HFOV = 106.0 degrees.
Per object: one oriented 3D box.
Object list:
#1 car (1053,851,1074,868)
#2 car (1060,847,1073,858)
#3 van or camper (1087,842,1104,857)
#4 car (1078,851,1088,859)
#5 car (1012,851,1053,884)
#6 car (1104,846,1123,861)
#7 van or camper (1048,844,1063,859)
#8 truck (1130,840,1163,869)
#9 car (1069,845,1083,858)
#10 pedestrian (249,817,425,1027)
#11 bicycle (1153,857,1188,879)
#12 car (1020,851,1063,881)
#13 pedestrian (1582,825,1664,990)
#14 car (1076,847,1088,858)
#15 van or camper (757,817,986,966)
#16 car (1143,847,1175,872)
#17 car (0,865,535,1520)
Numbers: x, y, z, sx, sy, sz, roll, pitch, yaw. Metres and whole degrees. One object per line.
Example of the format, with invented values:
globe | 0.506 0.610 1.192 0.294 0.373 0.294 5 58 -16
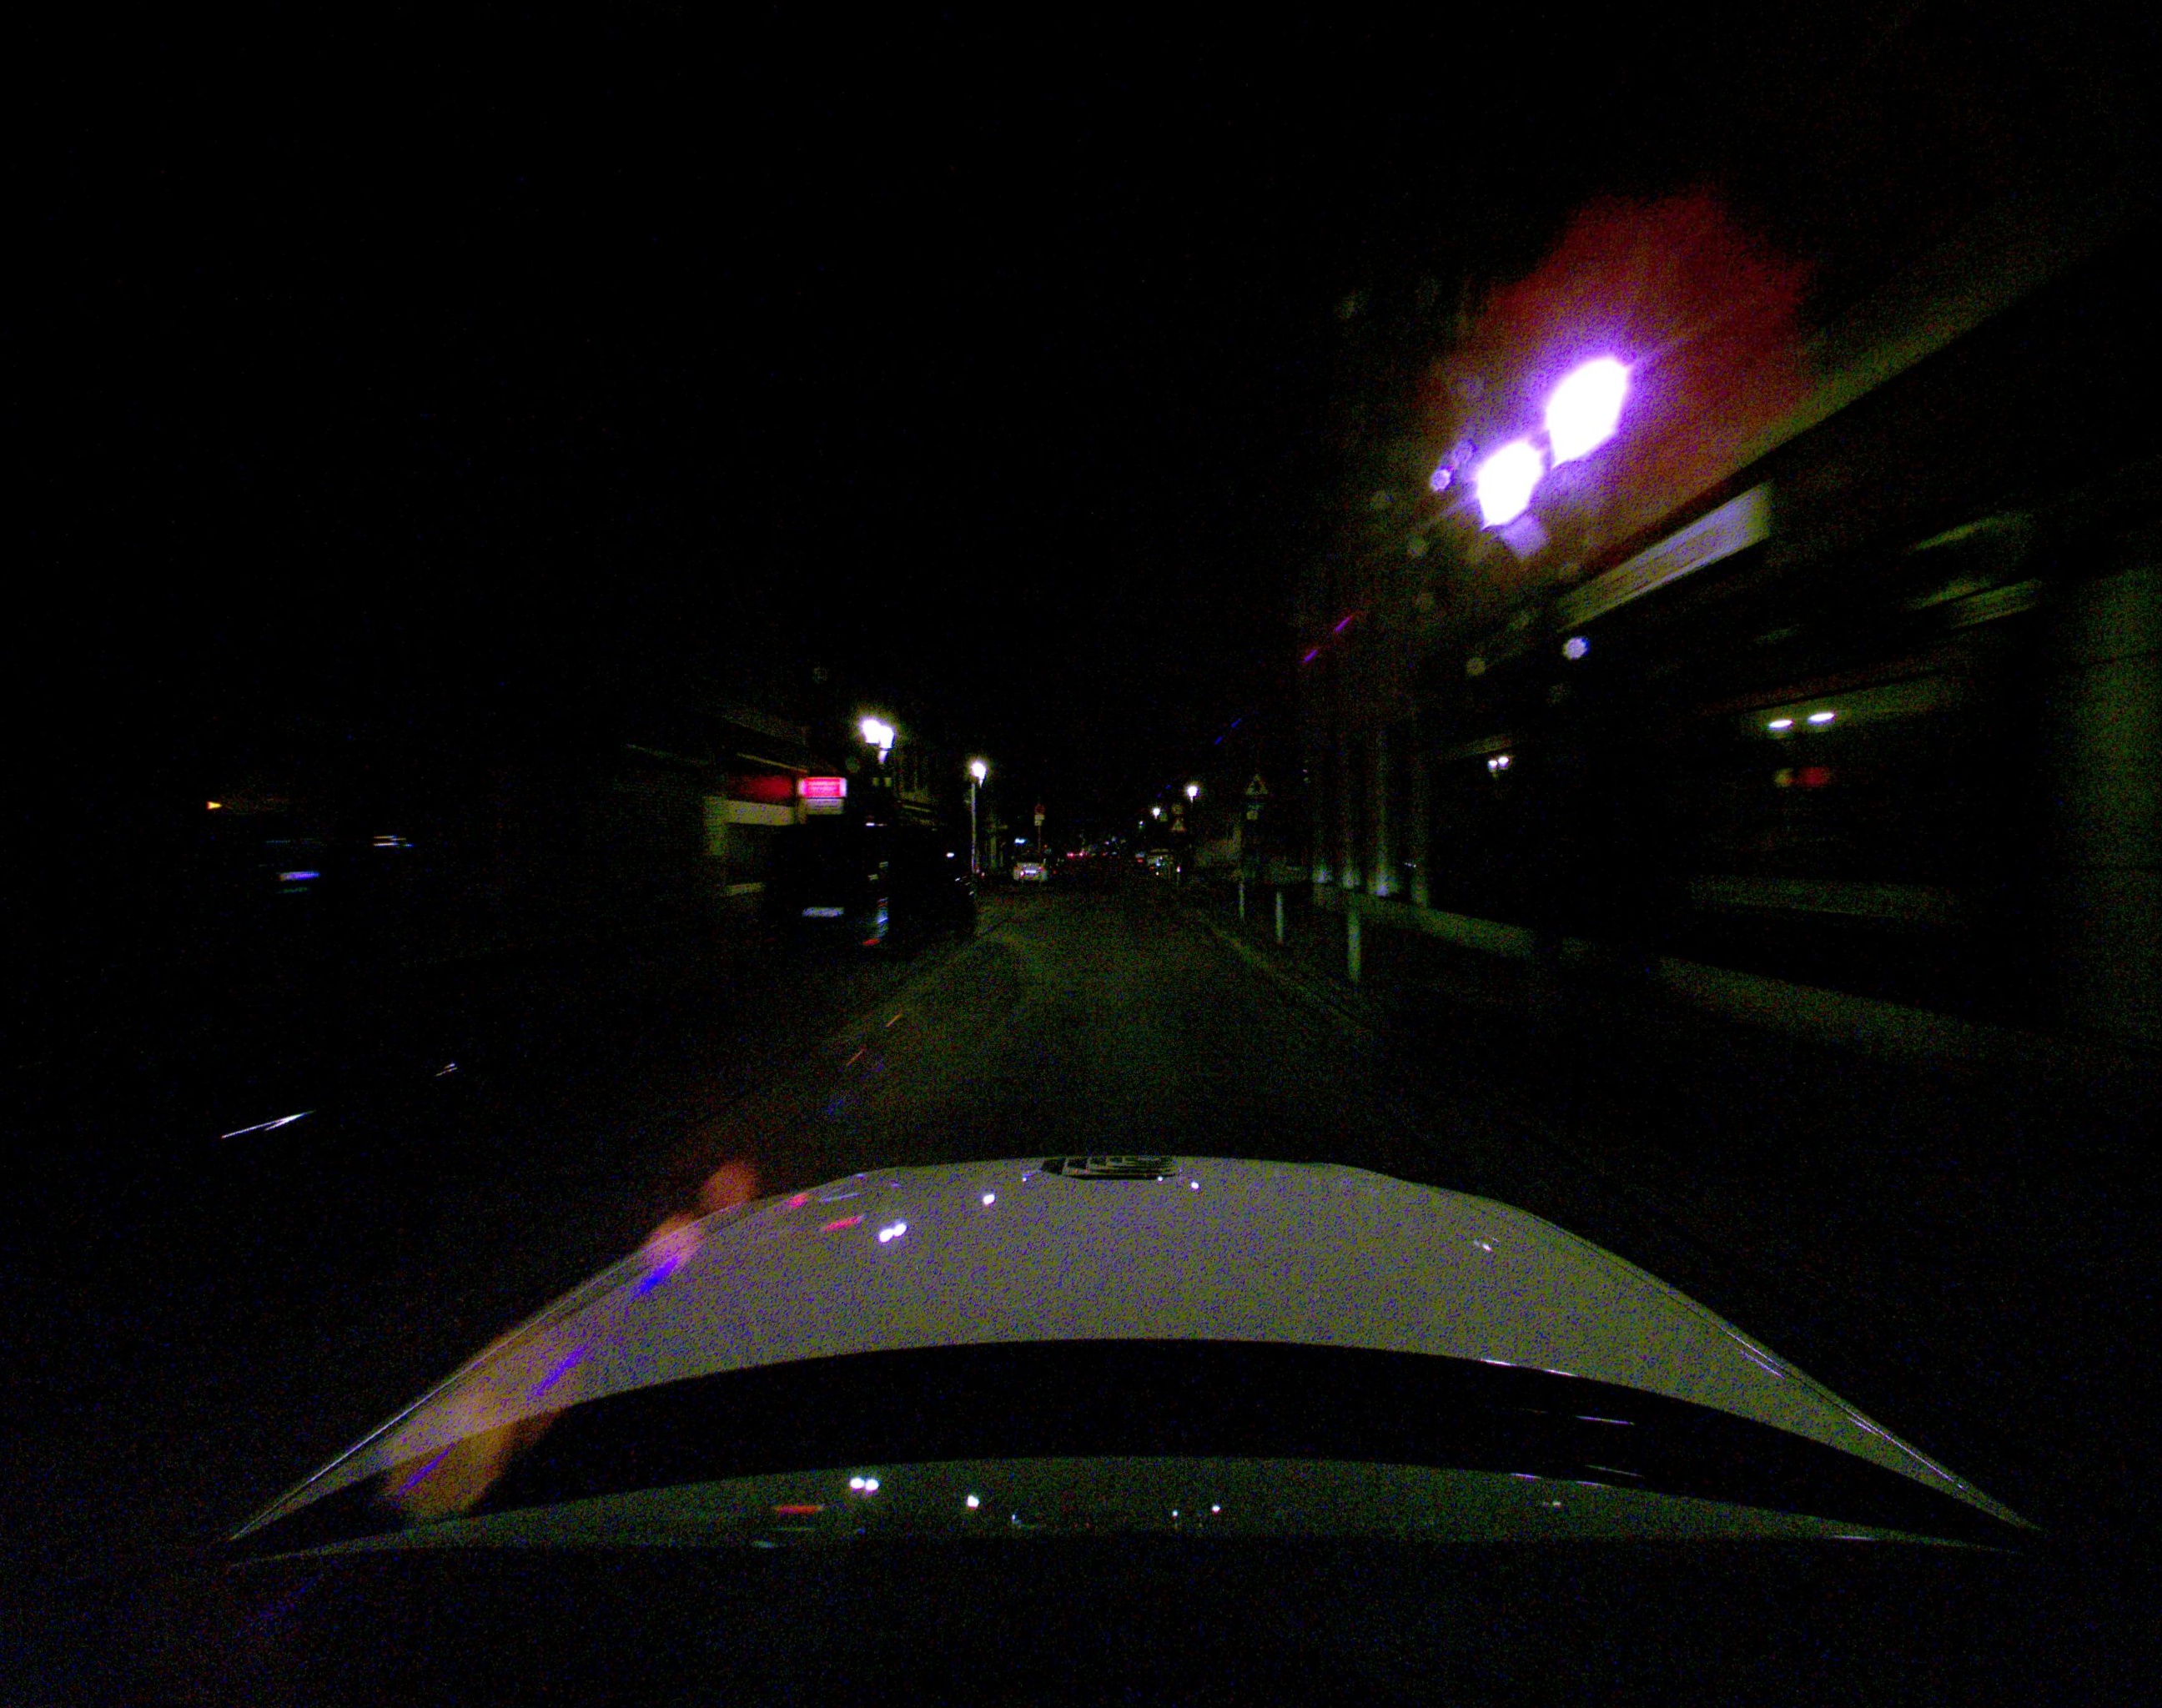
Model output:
car | -1.601 0.466 72.865 1.670 1.543 4.224 0 0 -4
car | -2.345 -0.196 134.551 1.989 1.702 3.995 -1 0 -3
van or camper | 2.289 -0.698 129.960 2.105 2.317 4.254 -3 0 -5
car | 0.371 0.206 142.722 1.528 1.418 3.840 -1 0 -4
car | -2.287 0.613 39.366 1.722 1.476 3.847 0 0 1
car | 4.110 -0.080 103.774 1.812 1.828 4.340 -2 0 -4
van or camper | -3.477 -0.396 110.856 1.864 2.011 4.254 0 0 -5
truck | 5.464 0.025 68.470 2.328 2.312 5.782 -2 0 1
car | -0.740 -0.343 120.346 1.989 1.823 3.996 -1 0 -3
pedestrian | -6.636 0.569 7.323 0.619 1.745 1.023 -1 0 2
bicycle | 4.551 0.712 41.542 1.749 1.062 0.346 -2 0 -2
car | -2.112 0.622 44.686 2.012 1.488 5.008 2 0 1
pedestrian | 5.248 0.505 7.901 0.498 1.547 0.481 0 0 8
car | 0.173 -0.337 148.678 1.836 1.901 3.840 -1 0 -4
van or camper | -3.069 0.481 13.265 1.836 1.942 5.164 0 0 7
car | 5.012 0.316 52.818 1.782 1.491 4.061 -3 0 2
car | -3.271 0.770 1.290 1.710 1.413 4.388 0 0 2
